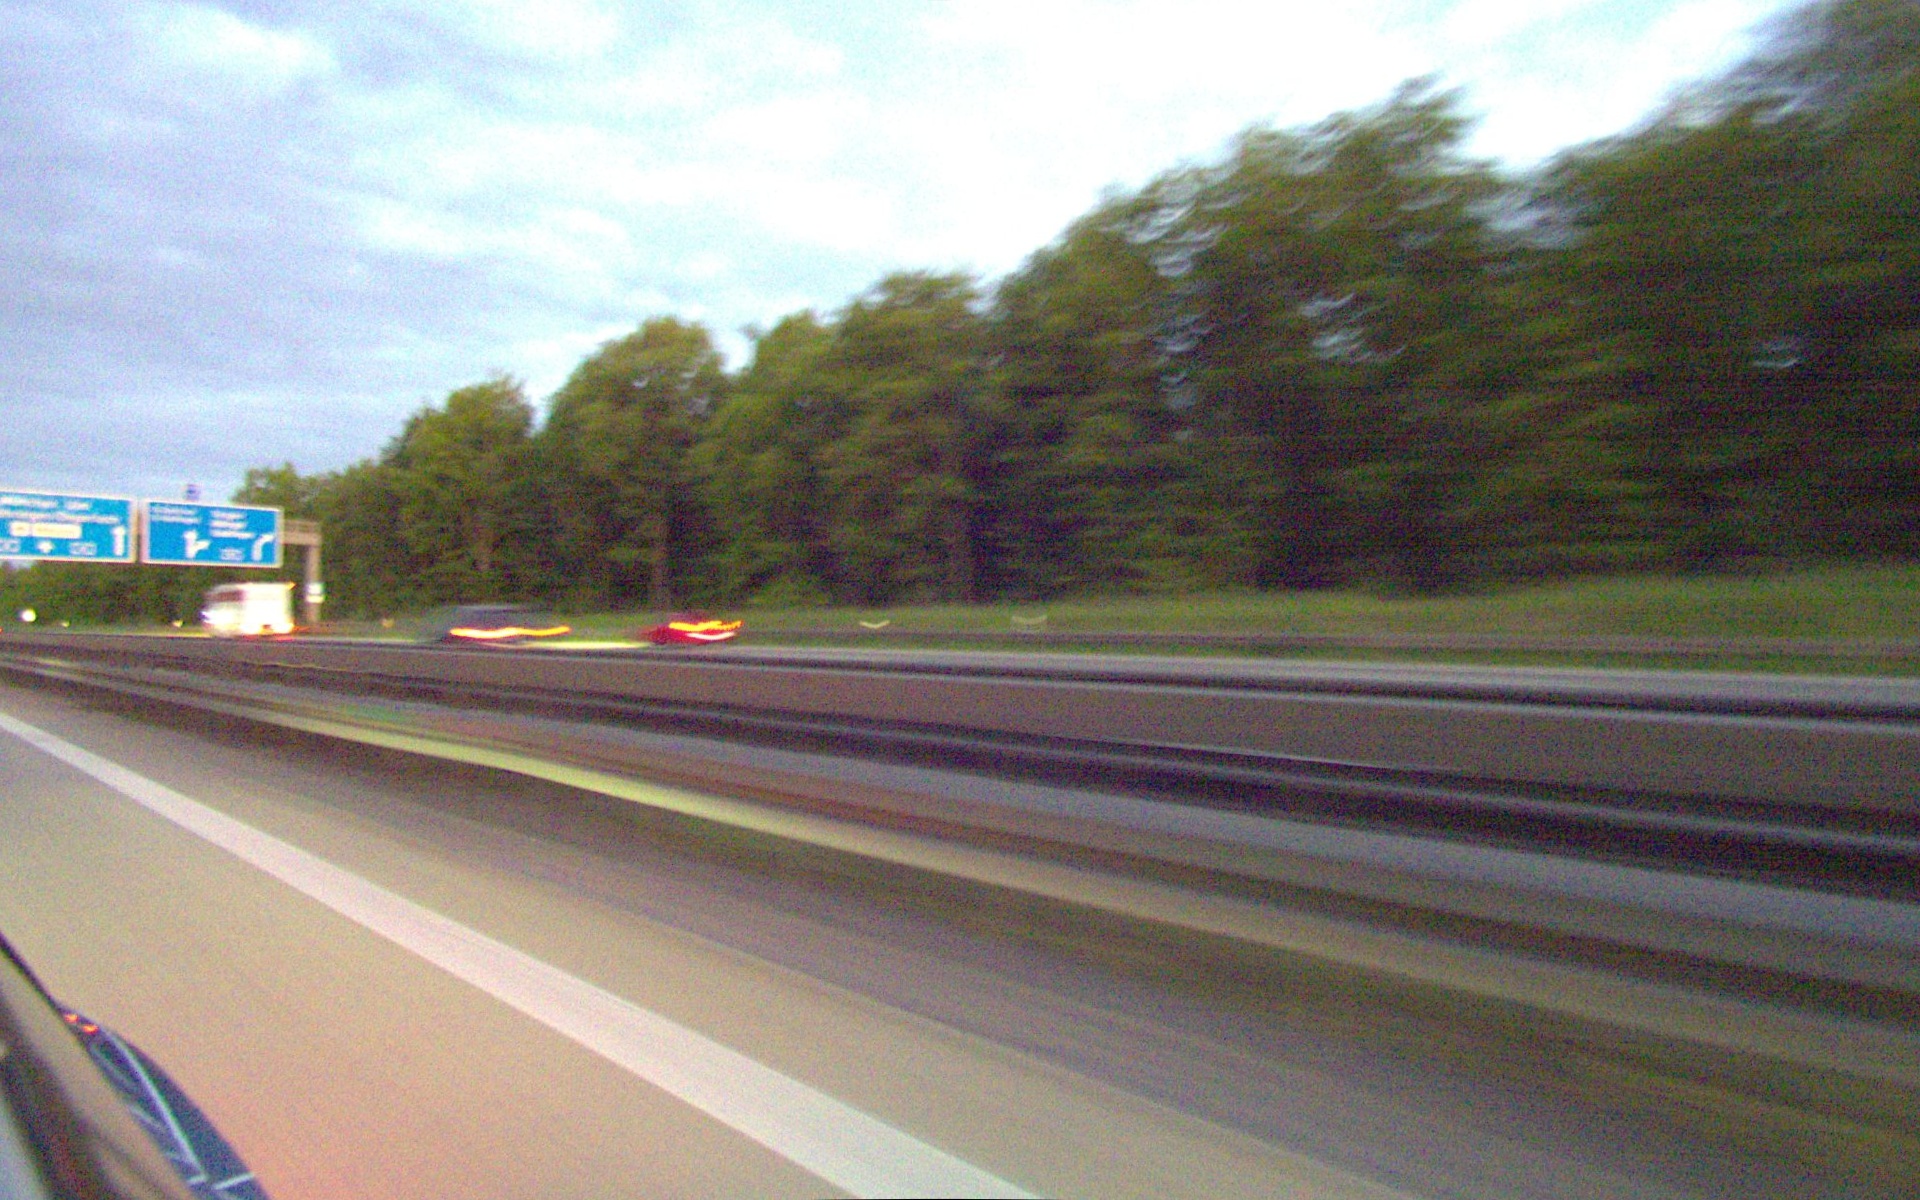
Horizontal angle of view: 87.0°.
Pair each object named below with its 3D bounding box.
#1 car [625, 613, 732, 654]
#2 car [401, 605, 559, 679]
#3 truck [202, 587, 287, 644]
[{"bbox_3d":[-11.111,1.302,39.787,4.592,1.508,1.831,-2,-1,41],"label":"car"},{"bbox_3d":[-12.332,1.034,25.869,4.547,1.718,1.973,-1,-1,40],"label":"car"},{"bbox_3d":[-53.368,1.184,75.309,10.536,4.041,2.618,-2,-1,40],"label":"truck"}]
